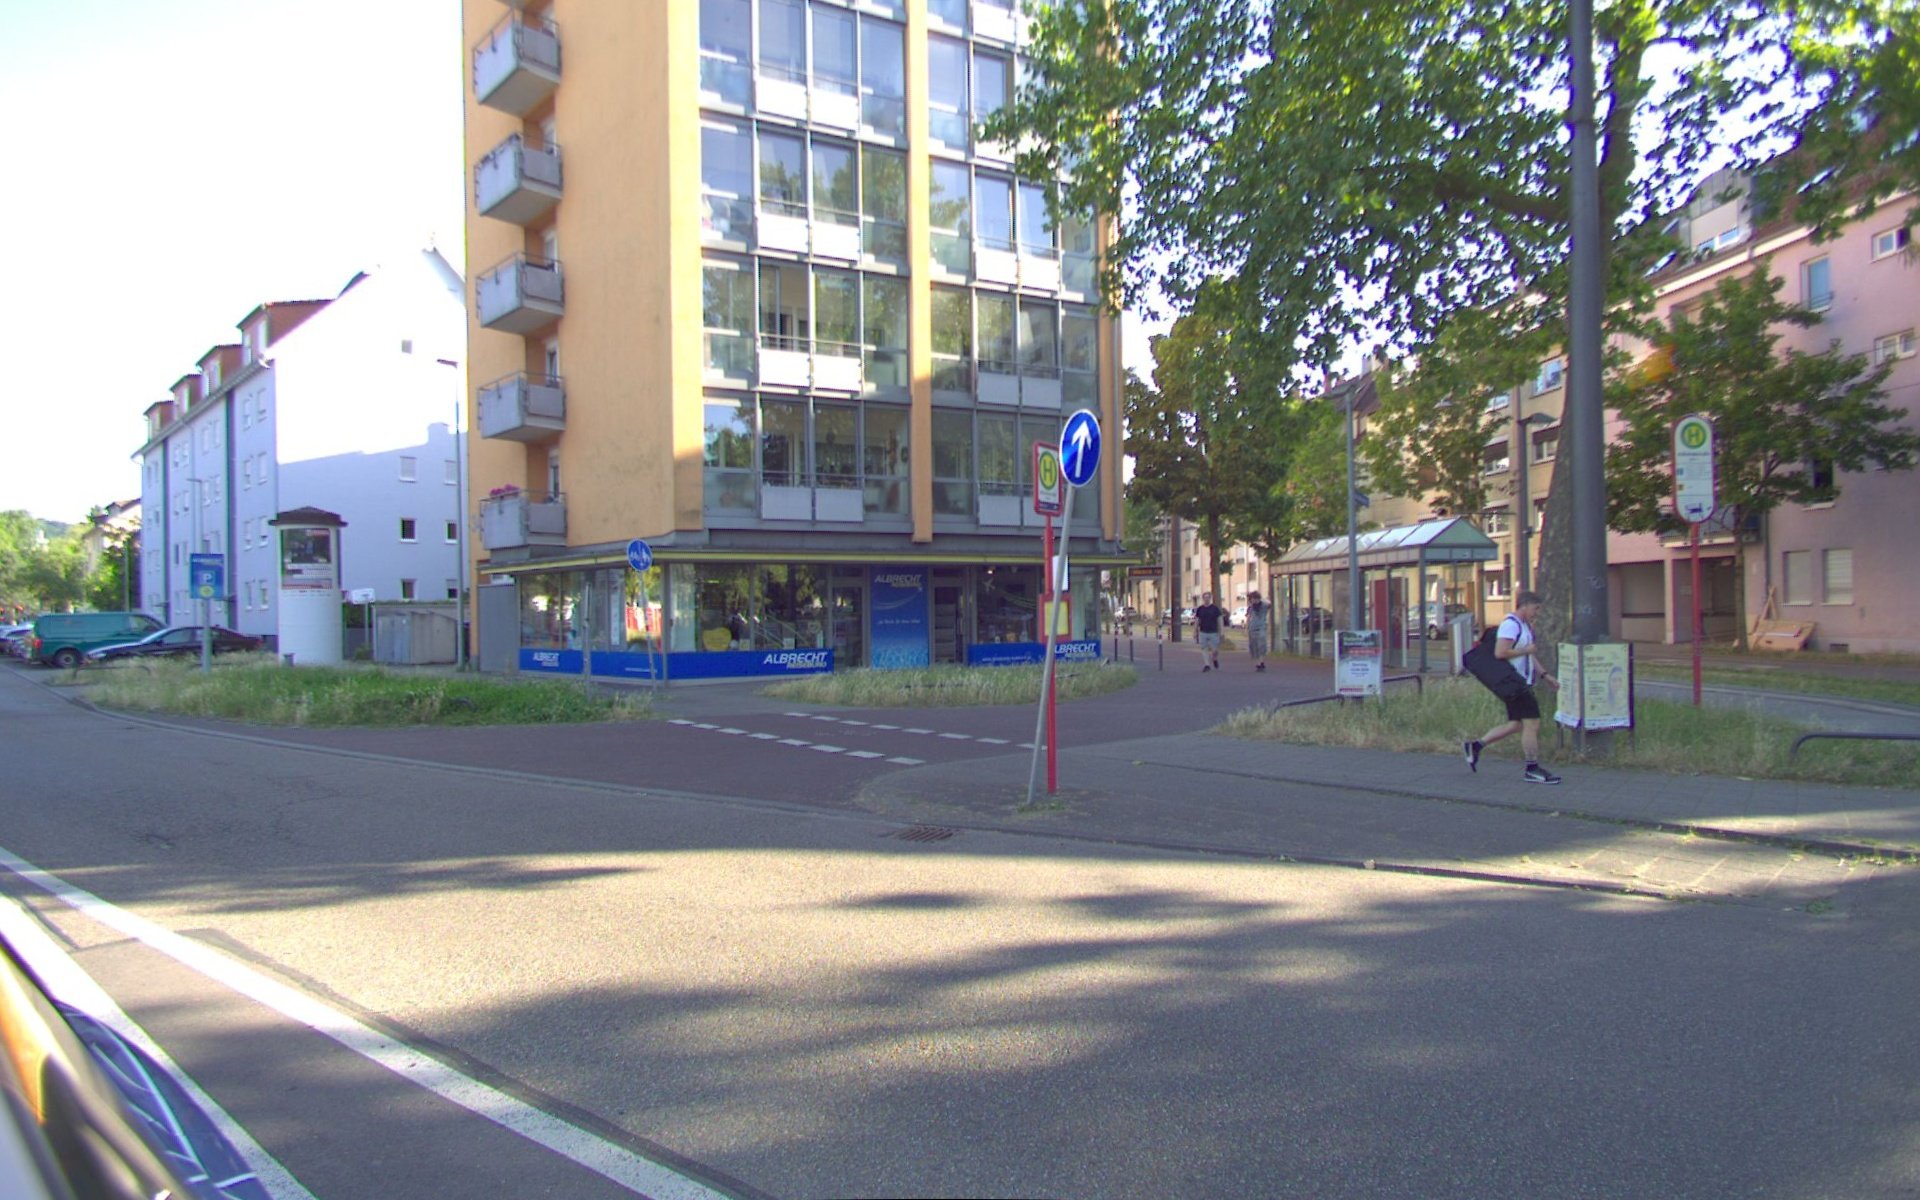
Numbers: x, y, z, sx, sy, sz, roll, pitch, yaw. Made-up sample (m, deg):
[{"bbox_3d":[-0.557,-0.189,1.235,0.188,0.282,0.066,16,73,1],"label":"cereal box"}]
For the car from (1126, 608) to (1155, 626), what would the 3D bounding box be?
[{"bbox_3d":[17.784,1.635,99.876,1.911,1.719,4.003,-1,0,-3],"label":"car"}]

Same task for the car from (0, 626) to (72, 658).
[{"bbox_3d":[-55.792,2.481,60.438,4.016,1.765,1.900,-1,0,-44],"label":"car"}]

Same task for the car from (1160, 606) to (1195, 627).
[{"bbox_3d":[18.431,1.391,85.804,1.830,1.719,4.170,-1,0,-3],"label":"car"}]

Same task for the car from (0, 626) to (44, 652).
[{"bbox_3d":[-63.495,2.613,66.996,4.199,1.585,1.867,-1,0,-44],"label":"car"}]

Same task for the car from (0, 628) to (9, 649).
[{"bbox_3d":[-74.758,2.998,76.965,3.490,1.585,1.867,-1,0,-44],"label":"car"}]

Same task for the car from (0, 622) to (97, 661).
[{"bbox_3d":[-46.116,2.045,50.869,4.061,1.785,1.758,-1,0,-44],"label":"car"}]

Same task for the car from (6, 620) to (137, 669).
[{"bbox_3d":[-36.857,1.813,42.015,4.003,1.829,1.938,-1,0,-44],"label":"car"}]

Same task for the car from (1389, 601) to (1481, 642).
[{"bbox_3d":[20.747,0.906,44.435,1.911,1.719,4.115,-1,0,-3],"label":"car"}]

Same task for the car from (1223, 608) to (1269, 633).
[{"bbox_3d":[19.173,1.344,68.055,1.741,1.588,4.049,-1,0,-3],"label":"car"}]

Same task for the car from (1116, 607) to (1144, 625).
[{"bbox_3d":[17.734,1.634,105.550,1.911,1.719,4.372,-1,0,-3],"label":"car"}]

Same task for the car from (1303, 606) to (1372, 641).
[{"bbox_3d":[19.917,1.200,53.603,1.911,1.719,4.115,-1,0,-3],"label":"car"}]

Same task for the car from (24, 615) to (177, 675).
[{"bbox_3d":[-31.136,1.562,36.715,1.924,1.962,4.085,-1,0,44],"label":"car"}]

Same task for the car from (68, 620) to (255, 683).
[{"bbox_3d":[-24.271,1.514,30.868,4.361,1.674,2.003,-1,0,-41],"label":"car"}]

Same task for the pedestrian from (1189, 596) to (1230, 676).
[{"bbox_3d":[5.581,0.793,22.697,0.803,1.763,0.538,-1,0,6],"label":"pedestrian"}]

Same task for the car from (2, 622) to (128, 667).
[{"bbox_3d":[-38.826,1.871,43.933,4.016,1.765,1.900,-1,0,-44],"label":"car"}]

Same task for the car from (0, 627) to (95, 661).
[{"bbox_3d":[-48.119,2.282,52.960,4.199,1.585,1.867,-1,0,-44],"label":"car"}]

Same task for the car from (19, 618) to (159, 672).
[{"bbox_3d":[-33.119,1.654,38.534,3.941,1.829,2.001,-1,0,-44],"label":"car"}]

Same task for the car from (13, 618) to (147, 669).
[{"bbox_3d":[-35.119,1.680,40.436,3.941,1.829,2.001,-1,0,-44],"label":"car"}]

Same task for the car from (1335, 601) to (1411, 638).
[{"bbox_3d":[19.907,0.916,48.990,1.911,1.719,3.827,-1,0,-3],"label":"car"}]

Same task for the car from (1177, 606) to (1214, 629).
[{"bbox_3d":[18.643,1.349,80.350,1.771,1.719,4.170,-1,0,-3],"label":"car"}]

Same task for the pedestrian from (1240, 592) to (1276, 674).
[{"bbox_3d":[6.481,0.706,22.024,0.622,1.763,0.689,-1,0,6],"label":"pedestrian"}]

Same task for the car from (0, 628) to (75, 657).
[{"bbox_3d":[-55.658,2.510,60.384,4.199,1.585,1.867,-1,0,-44],"label":"car"}]

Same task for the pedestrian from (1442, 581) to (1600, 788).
[{"bbox_3d":[5.031,0.718,9.166,1.080,1.750,0.897,-1,0,19],"label":"pedestrian"}]

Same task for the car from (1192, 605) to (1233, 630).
[{"bbox_3d":[18.705,1.264,75.160,1.808,1.719,4.059,-1,0,-3],"label":"car"}]
